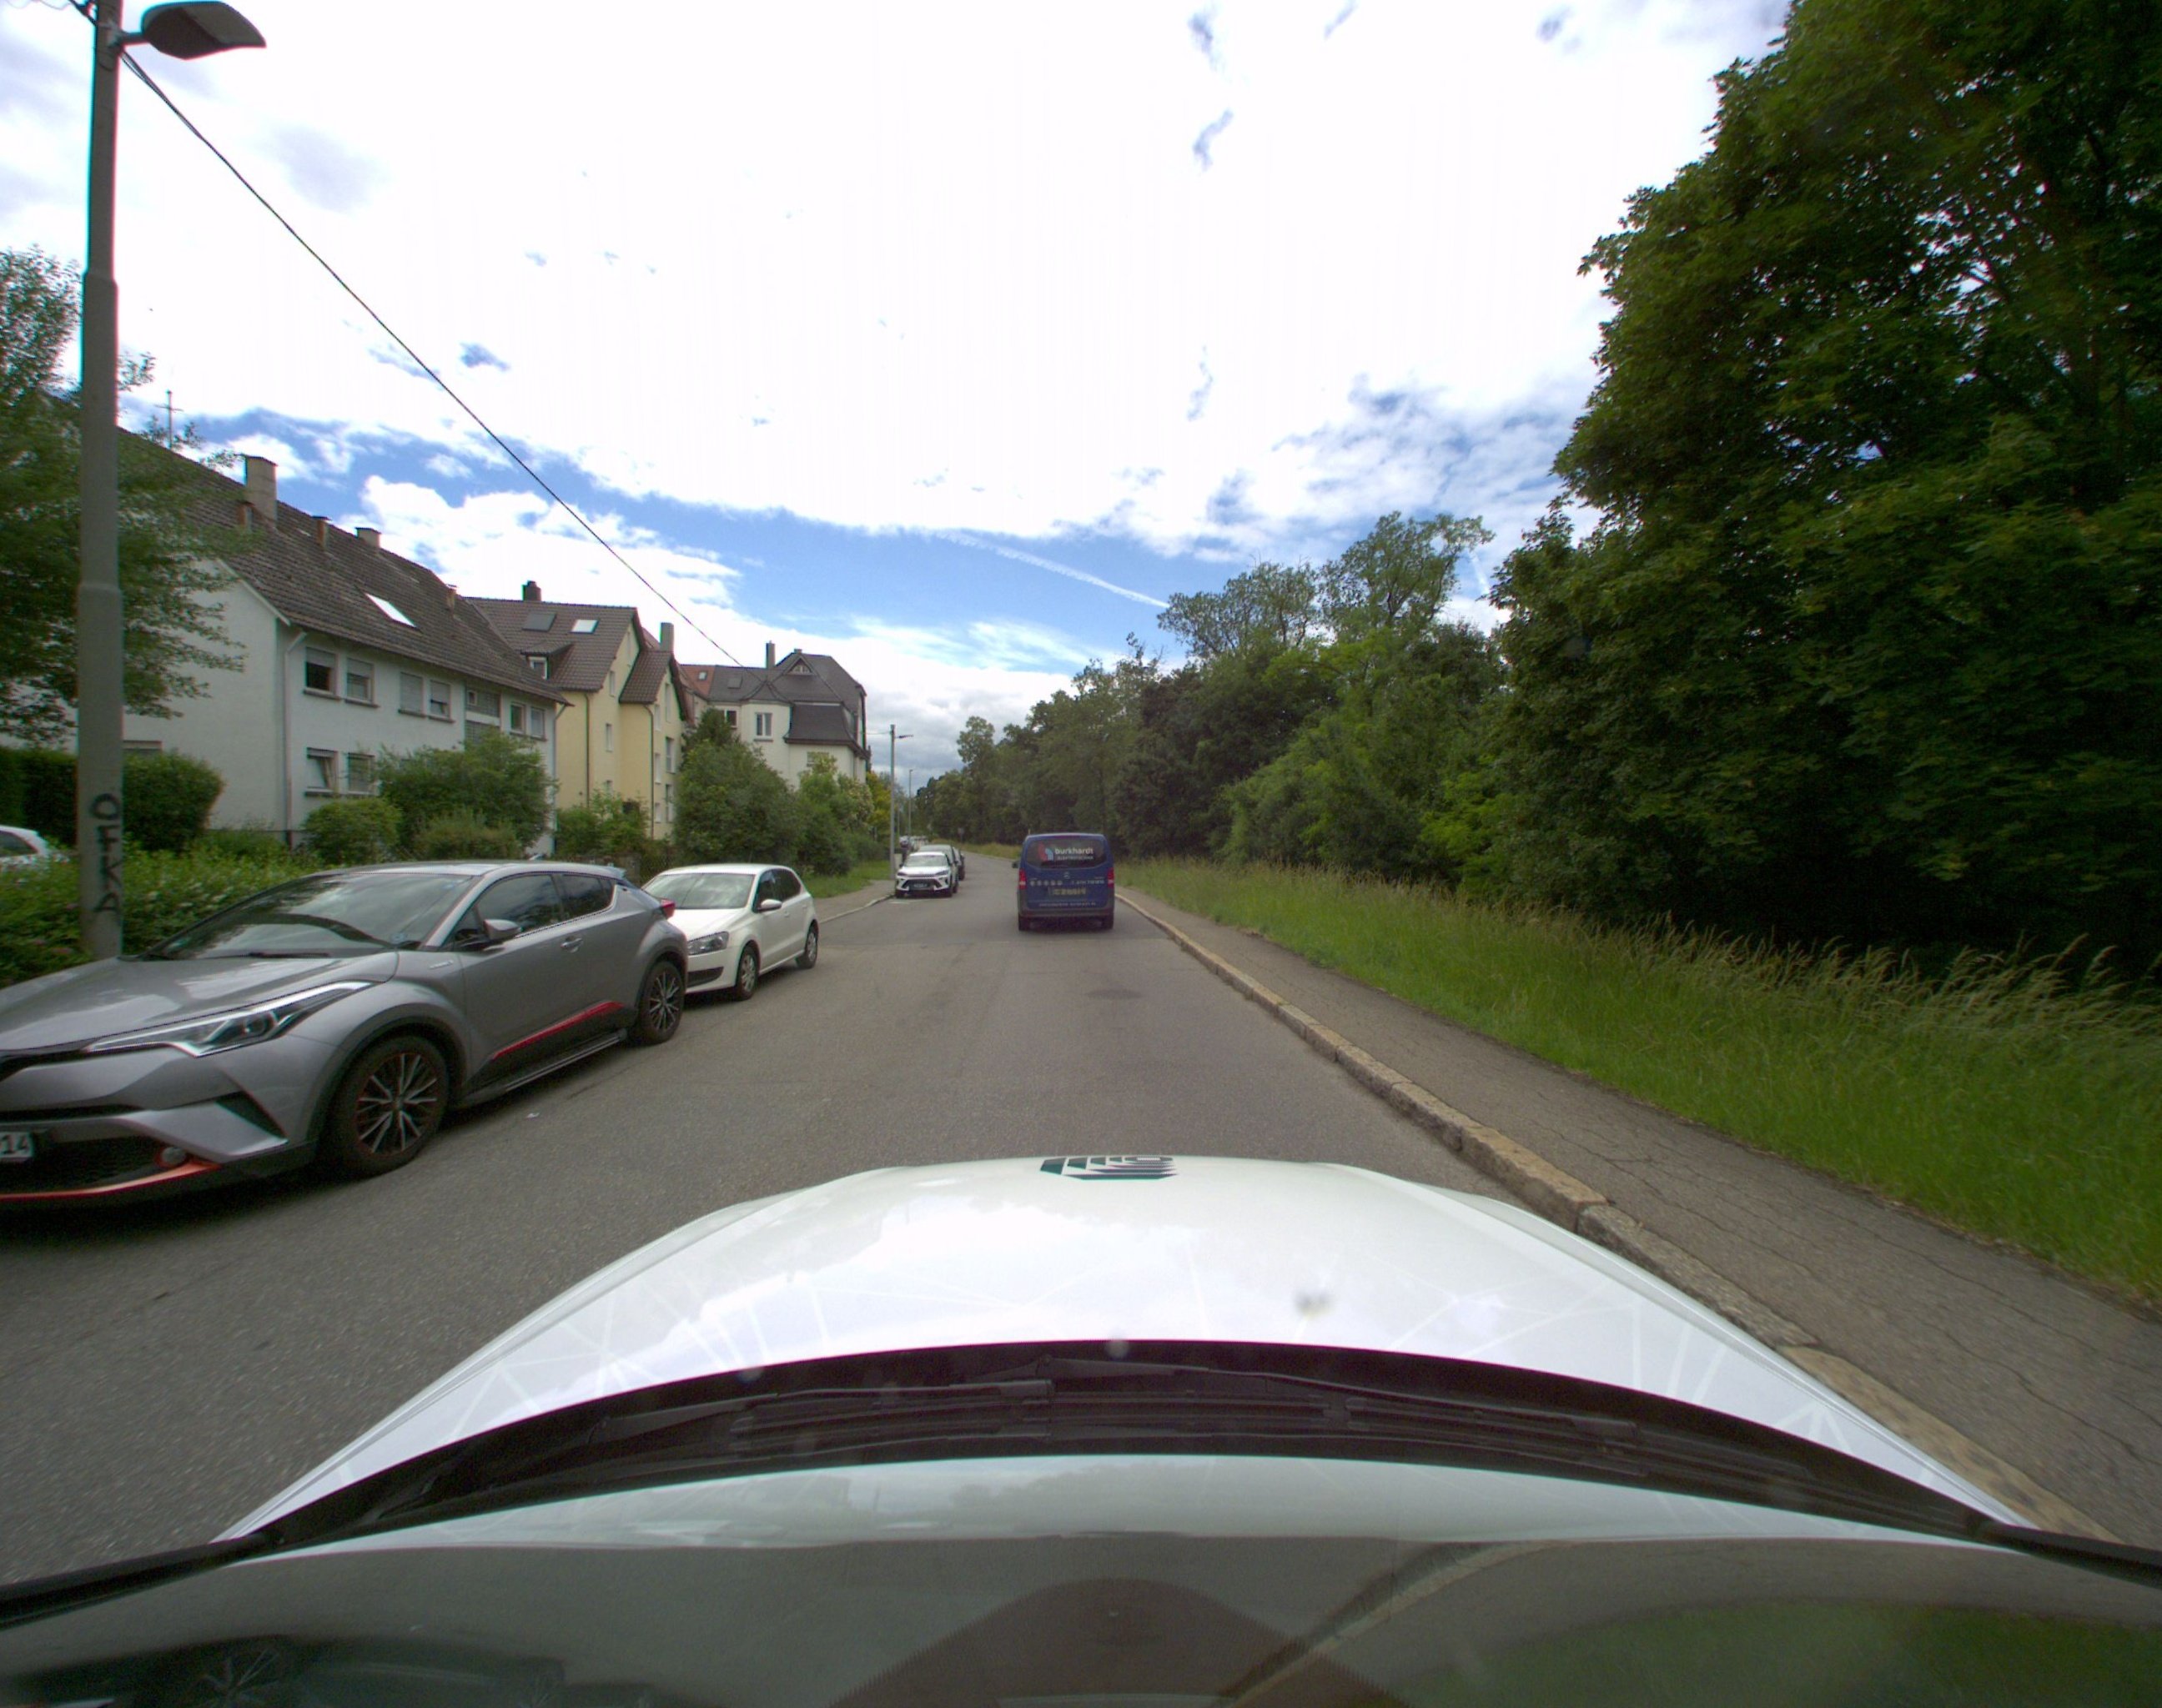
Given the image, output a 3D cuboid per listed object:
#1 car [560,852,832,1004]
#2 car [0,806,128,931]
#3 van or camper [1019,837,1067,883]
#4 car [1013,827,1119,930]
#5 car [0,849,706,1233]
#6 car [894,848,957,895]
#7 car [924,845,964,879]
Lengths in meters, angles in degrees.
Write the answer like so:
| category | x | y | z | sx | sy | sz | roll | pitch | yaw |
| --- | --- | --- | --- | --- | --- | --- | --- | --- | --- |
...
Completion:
| category | x | y | z | sx | sy | sz | roll | pitch | yaw |
| --- | --- | --- | --- | --- | --- | --- | --- | --- | --- |
| car | -4.370 | 0.732 | 9.959 | 1.619 | 1.480 | 3.923 | 1 | 0 | -3 |
| car | -13.481 | 0.192 | 8.805 | 1.698 | 1.457 | 3.932 | -1 | 1 | -1 |
| van or camper | -1.910 | 0.231 | 39.078 | 2.016 | 1.956 | 4.888 | 2 | 1 | -5 |
| car | -0.388 | 0.447 | 17.120 | 1.909 | 1.837 | 4.288 | -1 | 0 | -3 |
| car | -4.235 | 0.725 | 5.212 | 1.756 | 1.480 | 4.126 | 0 | 0 | 0 |
| car | -5.290 | 0.561 | 28.216 | 1.722 | 1.492 | 4.405 | 0 | 0 | -6 |
| car | -6.995 | 0.388 | 41.864 | 1.814 | 1.615 | 4.213 | 2 | 0 | -7 |
